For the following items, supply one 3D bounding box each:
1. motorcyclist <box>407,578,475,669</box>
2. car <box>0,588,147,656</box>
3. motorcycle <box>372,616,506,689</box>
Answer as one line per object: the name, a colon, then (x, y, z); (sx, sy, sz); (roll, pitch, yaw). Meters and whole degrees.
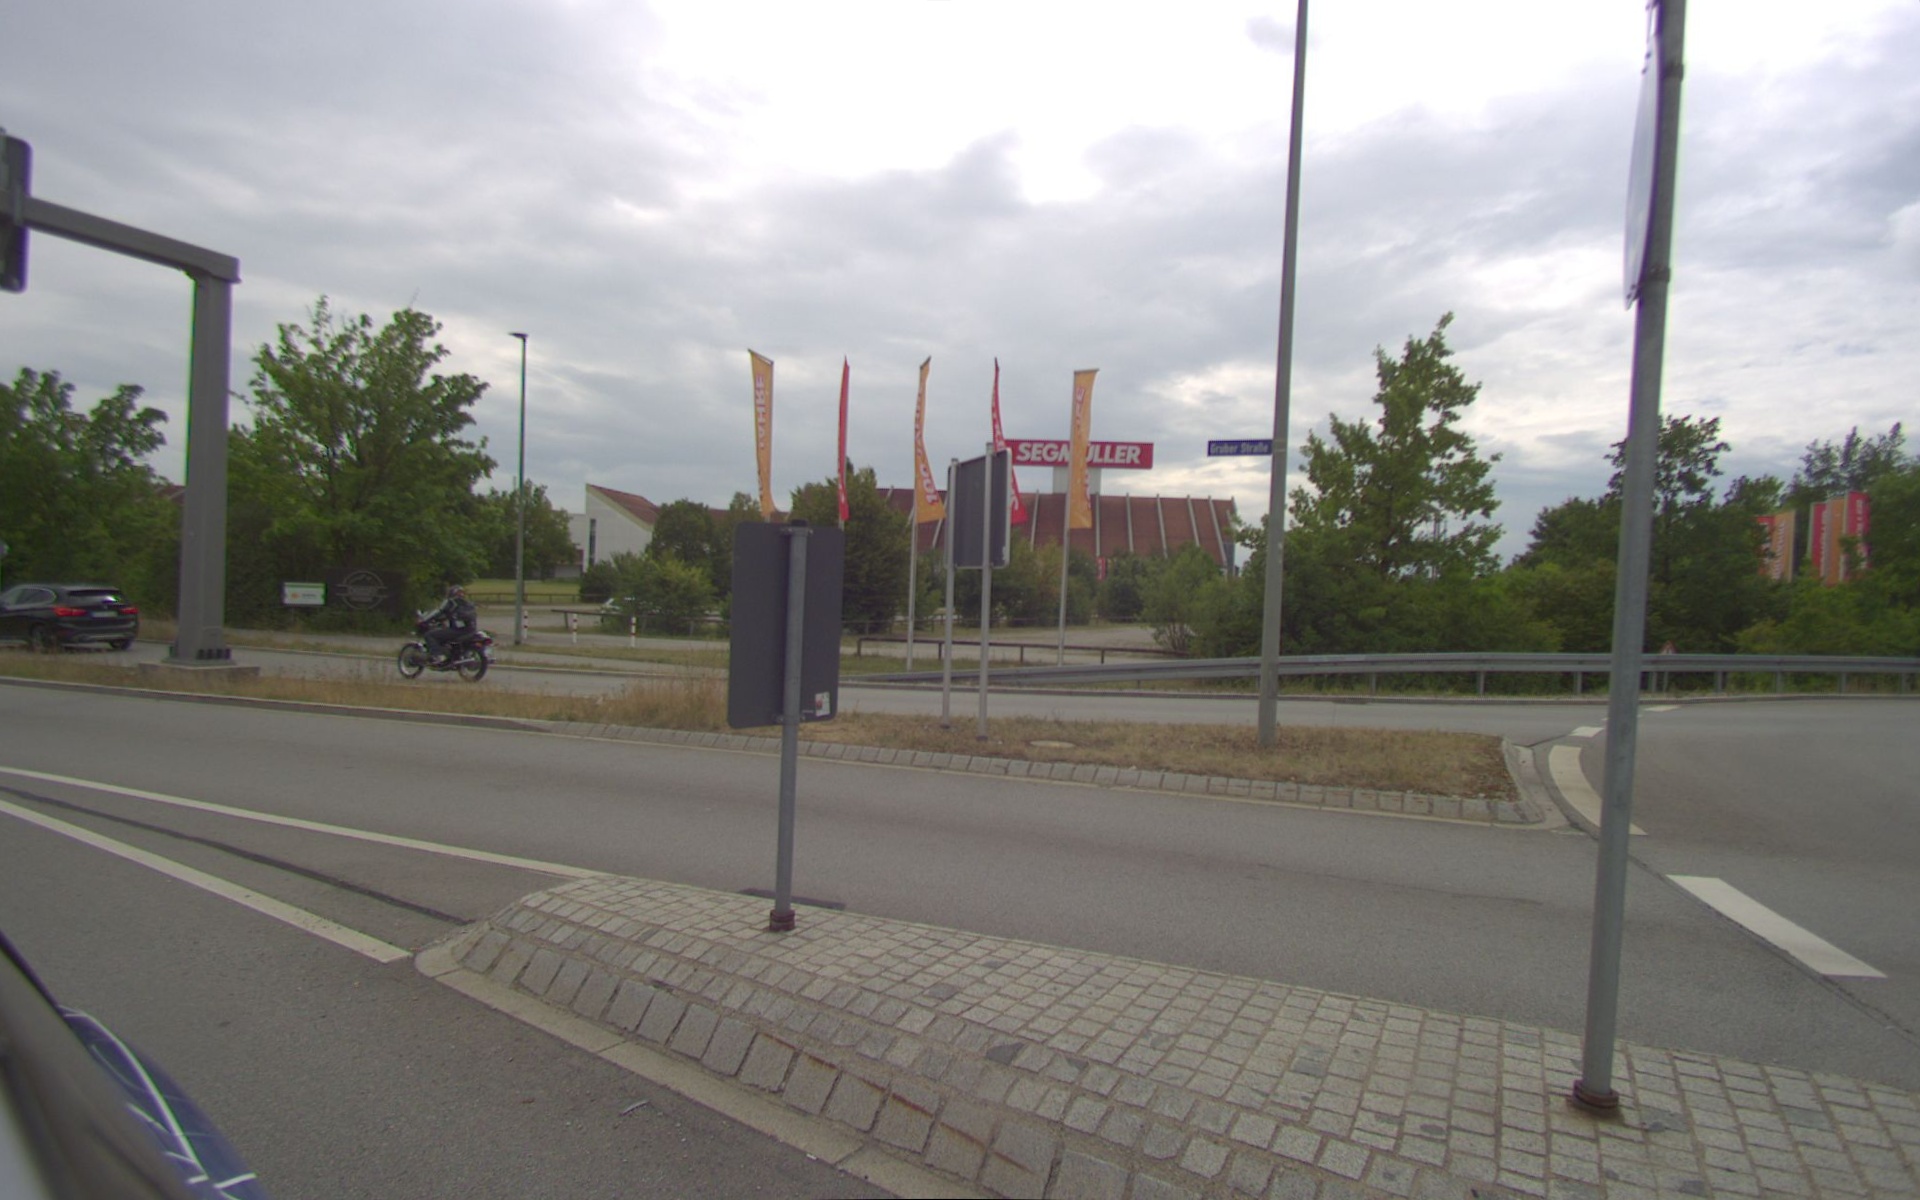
motorcyclist: (-9.189, 0.407, 17.940); (0.838, 1.588, 0.671); (0, -1, 14)
car: (-21.649, 0.464, 24.051); (4.254, 1.478, 1.878); (1, 0, 23)
motorcycle: (-9.233, 0.904, 17.949); (2.228, 1.239, 0.700); (0, -1, 15)
